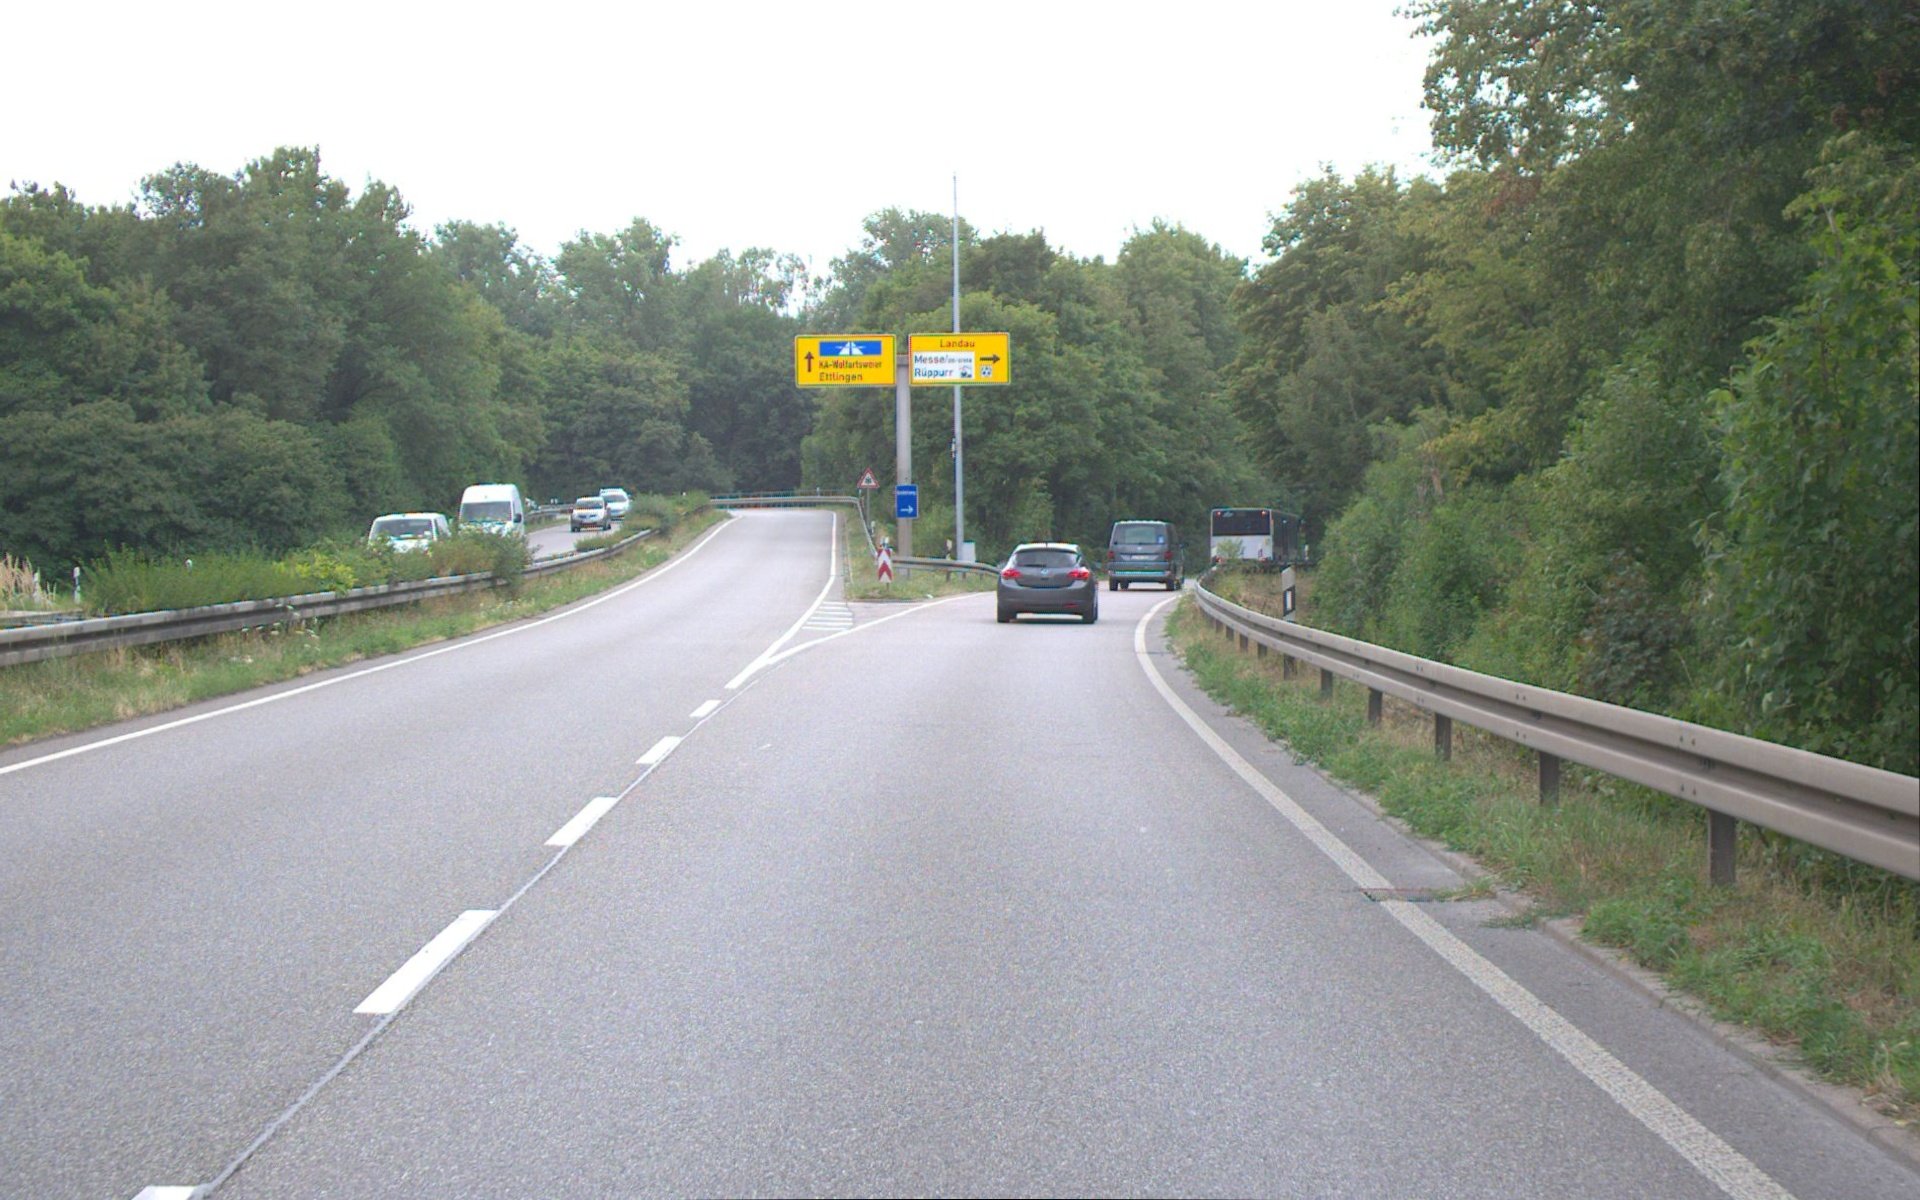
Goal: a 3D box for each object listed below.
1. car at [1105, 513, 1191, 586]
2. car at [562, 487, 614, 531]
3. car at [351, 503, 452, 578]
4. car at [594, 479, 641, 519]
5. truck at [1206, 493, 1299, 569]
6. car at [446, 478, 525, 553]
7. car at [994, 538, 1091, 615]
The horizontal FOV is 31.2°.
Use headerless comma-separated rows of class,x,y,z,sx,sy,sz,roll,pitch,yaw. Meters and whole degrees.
car,5.372,-1.424,97.809,2.148,2.007,3.999,0,0,7
car,-17.360,-4.261,160.565,1.993,2.006,4.001,0,2,-1
car,-14.463,-1.558,89.198,1.993,1.840,4.001,0,2,-1
car,-17.857,-5.287,179.603,1.993,2.006,4.000,0,2,1
truck,11.621,-2.680,135.945,2.982,2.875,7.987,0,0,10
car,-16.640,-2.996,120.740,2.118,2.582,5.040,0,2,-1
car,1.555,-0.427,63.669,1.625,1.373,3.999,0,0,4
